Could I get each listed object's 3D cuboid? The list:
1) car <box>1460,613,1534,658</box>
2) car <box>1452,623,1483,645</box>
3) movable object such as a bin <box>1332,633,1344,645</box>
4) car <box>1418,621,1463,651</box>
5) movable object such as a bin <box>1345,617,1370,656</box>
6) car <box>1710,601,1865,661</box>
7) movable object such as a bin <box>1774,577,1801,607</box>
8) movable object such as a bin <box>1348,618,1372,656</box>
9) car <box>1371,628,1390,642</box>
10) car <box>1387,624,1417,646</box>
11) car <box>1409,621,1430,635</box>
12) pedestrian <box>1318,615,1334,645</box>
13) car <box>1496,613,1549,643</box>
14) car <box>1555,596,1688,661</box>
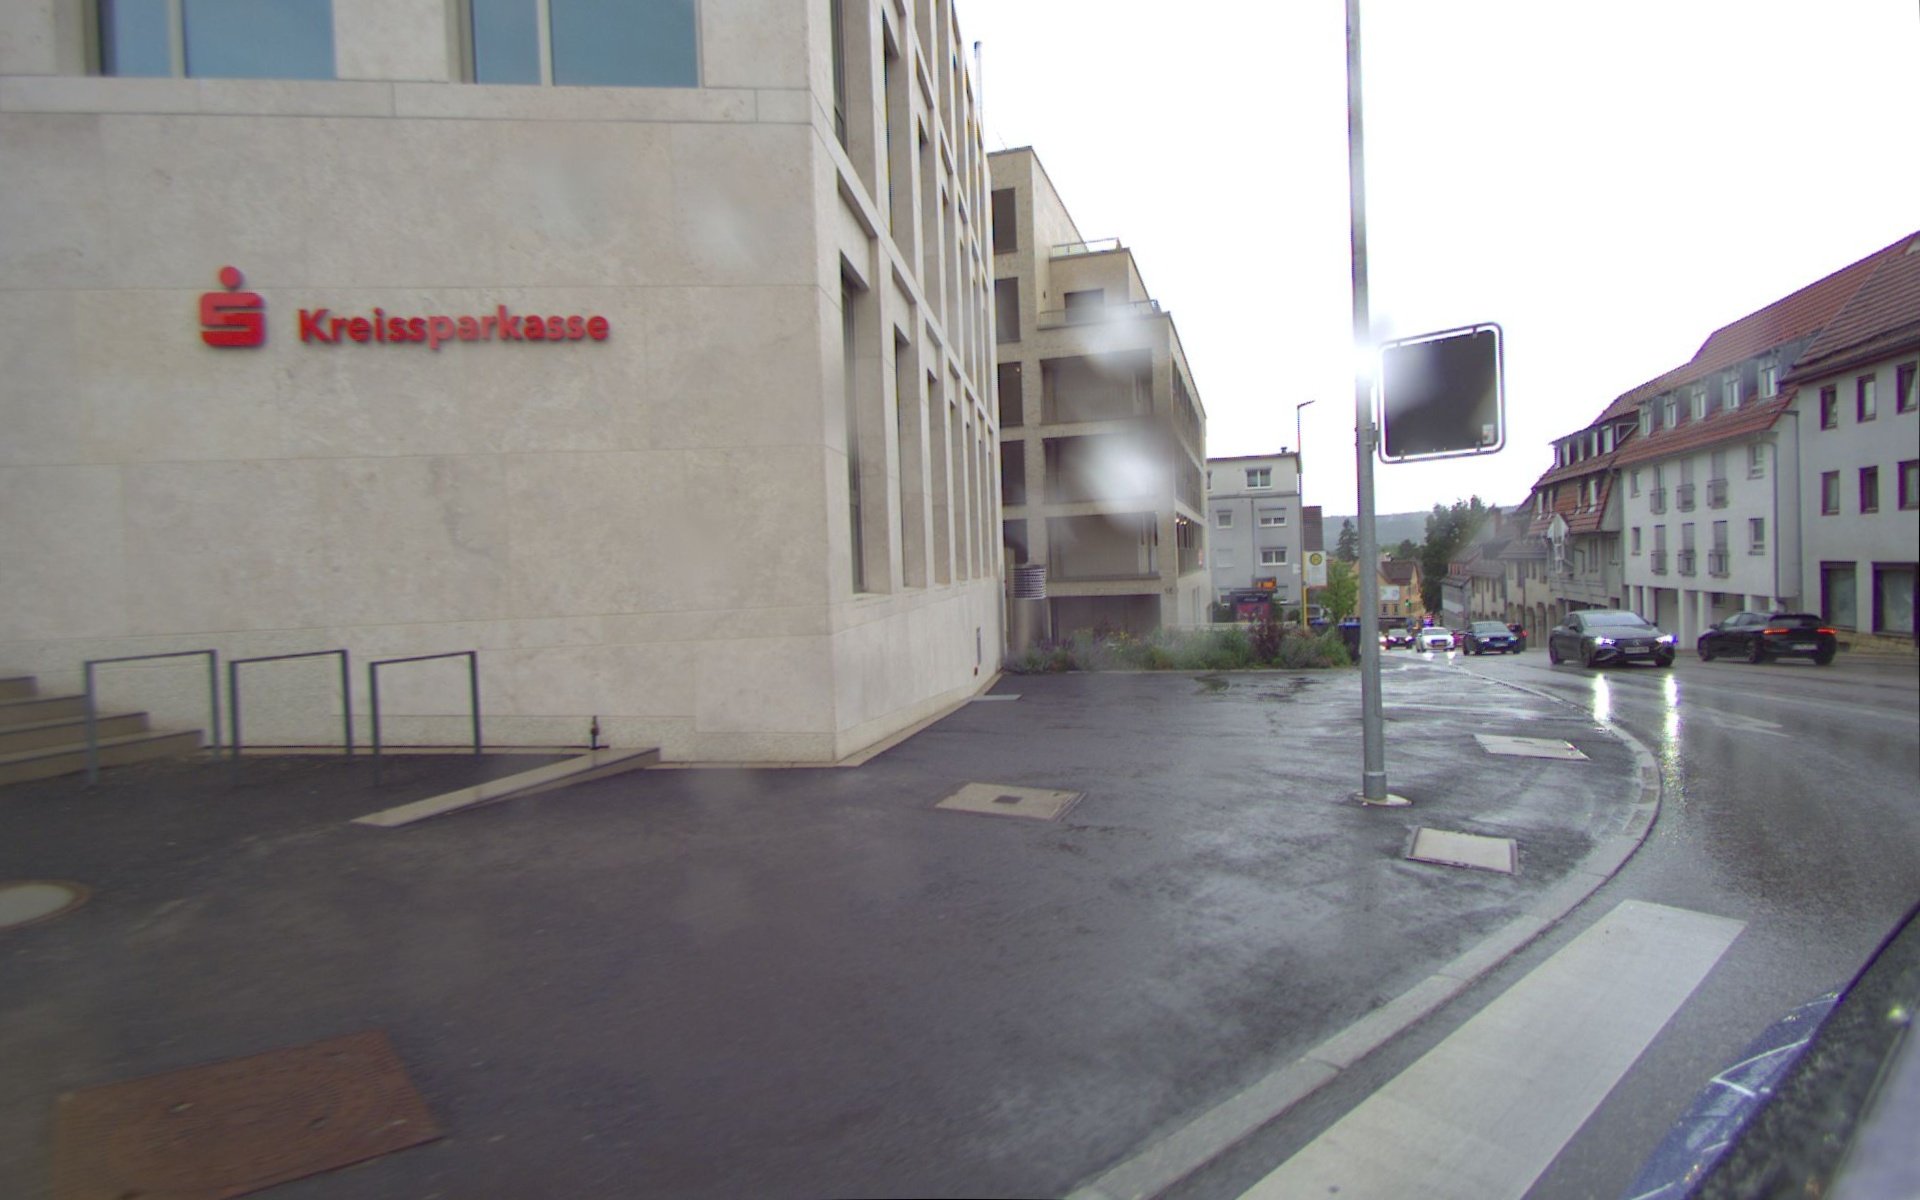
[{"bbox_3d":[23.107,1.583,43.676,1.942,1.793,4.357,-1,-4,17],"label":"car"},{"bbox_3d":[37.464,2.497,74.823,1.544,1.556,3.427,0,-2,18],"label":"car"},{"bbox_3d":[41.213,4.231,110.313,1.224,1.352,1.163,0,-3,22],"label":"movable object such as a bin"},{"bbox_3d":[27.878,2.129,58.816,1.945,1.629,4.350,-2,-4,21],"label":"car"},{"bbox_3d":[11.075,1.021,28.201,0.590,1.076,0.575,-1,-2,20],"label":"movable object such as a bin"},{"bbox_3d":[22.171,0.796,27.313,1.868,1.486,3.976,0,-1,18],"label":"car"},{"bbox_3d":[29.381,-0.280,35.936,0.502,1.020,0.582,-2,-3,16],"label":"movable object such as a bin"},{"bbox_3d":[11.403,1.051,28.880,0.590,1.076,0.575,-1,-2,20],"label":"movable object such as a bin"},{"bbox_3d":[44.748,3.670,107.824,1.651,1.304,3.546,1,1,20],"label":"car"},{"bbox_3d":[34.624,2.783,79.336,1.945,1.629,4.350,-2,-4,21],"label":"car"},{"bbox_3d":[48.186,2.936,106.211,1.651,1.304,3.546,1,1,20],"label":"car"},{"bbox_3d":[19.787,1.630,54.764,0.730,1.562,1.030,1,-1,23],"label":"pedestrian"},{"bbox_3d":[32.831,1.641,59.206,1.763,1.651,4.192,-1,-2,16],"label":"car"},{"bbox_3d":[17.496,0.786,27.017,1.944,1.578,4.589,-2,-2,21],"label":"car"}]
